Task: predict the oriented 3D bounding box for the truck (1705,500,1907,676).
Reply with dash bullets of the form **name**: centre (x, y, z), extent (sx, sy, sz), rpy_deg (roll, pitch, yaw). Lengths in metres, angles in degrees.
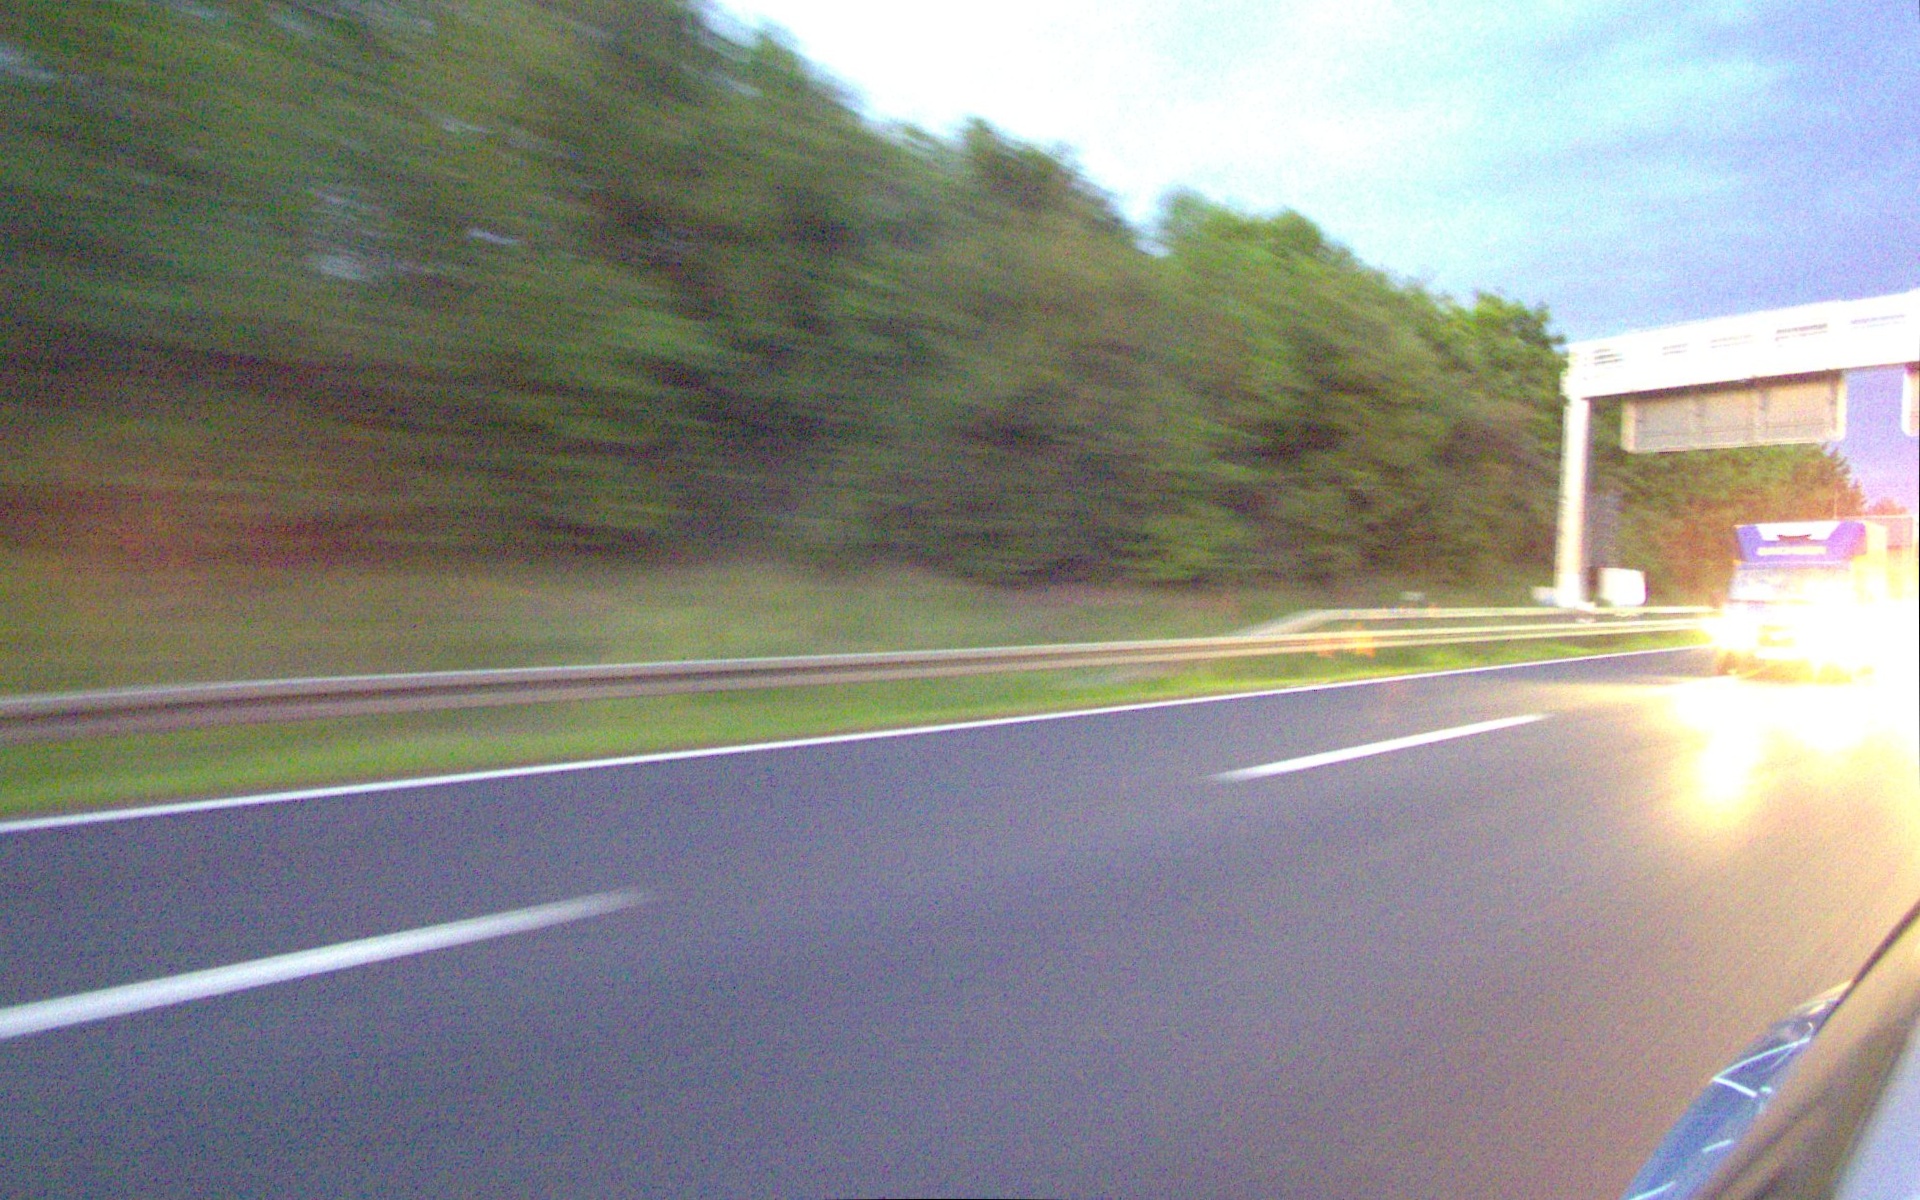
- **truck**: centre (17.092, -0.213, 20.284), extent (6.518, 3.009, 2.271), rpy_deg (0, 0, -43)
